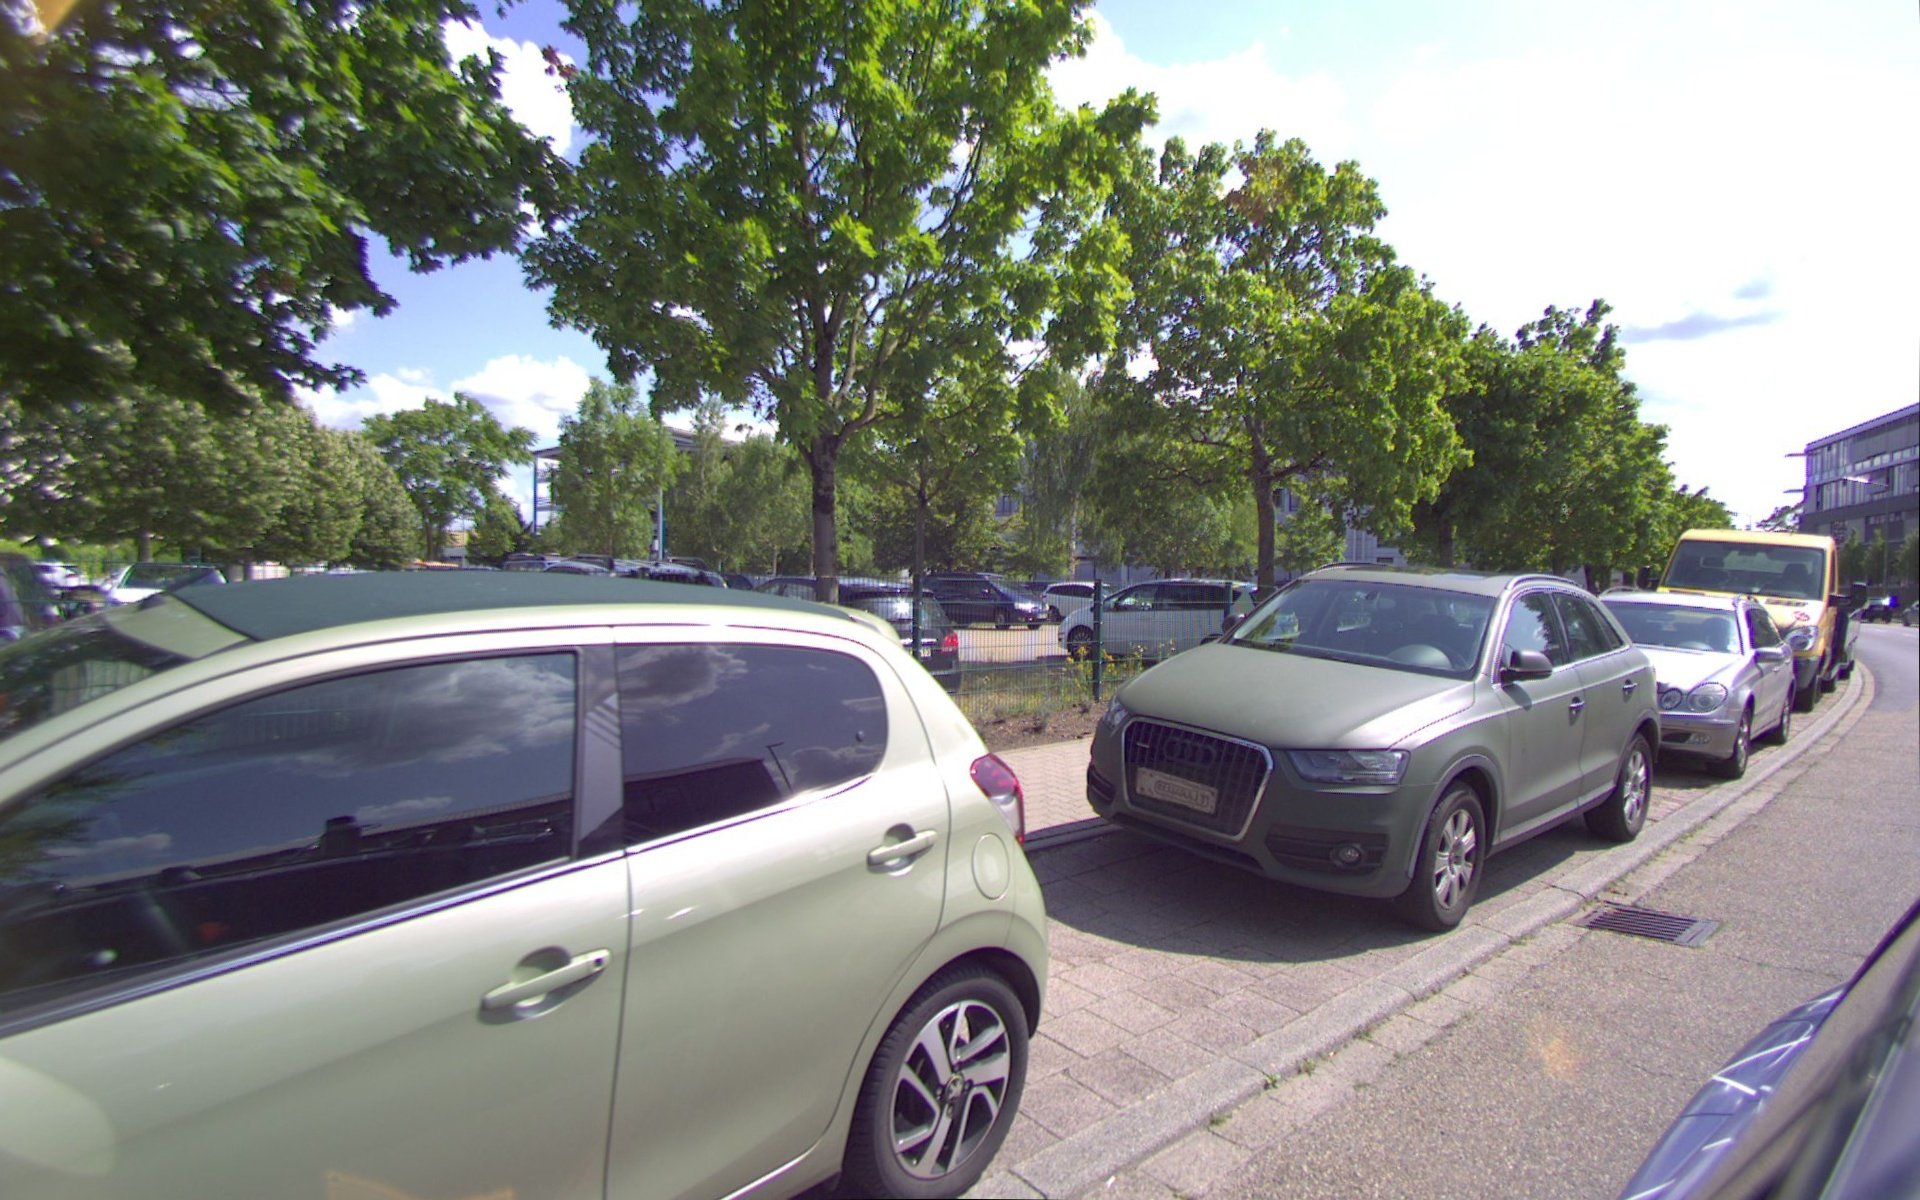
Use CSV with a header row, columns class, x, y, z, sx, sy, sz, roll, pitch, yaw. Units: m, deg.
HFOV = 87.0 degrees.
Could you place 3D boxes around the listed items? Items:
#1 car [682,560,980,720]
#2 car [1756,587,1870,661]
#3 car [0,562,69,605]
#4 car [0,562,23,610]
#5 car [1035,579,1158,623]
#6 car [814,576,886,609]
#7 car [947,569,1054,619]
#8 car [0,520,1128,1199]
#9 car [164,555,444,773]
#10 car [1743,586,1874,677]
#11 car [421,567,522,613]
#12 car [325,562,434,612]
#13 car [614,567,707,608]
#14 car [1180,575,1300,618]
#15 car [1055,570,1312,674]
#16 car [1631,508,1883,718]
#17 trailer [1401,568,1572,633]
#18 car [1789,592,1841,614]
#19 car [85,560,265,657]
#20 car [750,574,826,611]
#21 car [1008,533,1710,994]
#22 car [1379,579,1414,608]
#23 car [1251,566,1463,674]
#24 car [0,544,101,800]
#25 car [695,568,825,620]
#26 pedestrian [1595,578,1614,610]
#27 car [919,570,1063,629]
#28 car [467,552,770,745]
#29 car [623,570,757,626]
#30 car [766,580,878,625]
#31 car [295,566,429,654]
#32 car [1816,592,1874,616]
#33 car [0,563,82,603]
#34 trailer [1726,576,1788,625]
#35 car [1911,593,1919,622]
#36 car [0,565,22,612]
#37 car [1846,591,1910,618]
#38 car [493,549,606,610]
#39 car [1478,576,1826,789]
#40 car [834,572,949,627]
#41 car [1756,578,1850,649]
class,x,y,z,sx,sy,sz,roll,pitch,yaw
car,-1.714,0.338,12.329,1.875,1.613,3.885,-1,2,-38
car,20.001,0.483,23.883,1.829,1.511,4.592,3,2,38
car,-36.698,-0.609,38.495,3.808,1.613,1.912,-1,0,-26
car,-34.395,-0.445,34.043,3.808,1.613,1.912,-1,0,-26
car,4.708,0.011,35.258,1.699,1.455,4.166,0,1,-42
car,-6.312,-0.418,57.907,3.983,1.792,1.970,-1,0,42
car,1.632,-0.258,41.486,4.075,1.959,1.970,1,1,40
car,-1.497,0.627,2.009,3.746,1.504,1.701,-1,5,-45
car,-6.341,0.410,9.591,1.875,1.613,3.885,-1,2,-38
car,16.441,0.521,19.550,1.686,1.513,3.887,3,3,43
car,-17.569,-0.331,36.353,3.985,1.576,1.969,-1,0,43
car,-19.563,-0.404,34.047,4.264,1.576,1.970,-1,-1,42
car,-12.329,-0.504,41.525,3.984,1.576,1.862,-1,0,42
car,12.513,-0.210,45.328,4.841,1.789,1.889,2,2,39
car,4.041,0.314,18.728,4.312,1.641,1.738,3,2,40
car,12.117,0.078,15.153,2.159,2.495,6.532,3,3,45
trailer,18.308,-0.034,35.293,5.036,2.108,2.034,1,1,38
car,58.486,0.189,69.272,1.647,1.500,3.490,-1,0,22
car,-13.111,0.094,16.827,1.980,1.413,3.756,0,1,-44
car,-9.077,-0.376,53.317,3.985,1.824,1.969,-1,0,43
car,2.557,0.537,5.834,4.489,1.627,1.837,0,5,-41
car,26.017,-0.393,60.320,1.807,1.668,3.309,-1,0,24
car,9.701,0.407,24.922,4.329,1.688,1.830,15,10,39
car,-7.830,0.403,7.641,1.875,1.613,4.220,-1,2,-38
car,-6.476,-0.225,32.593,4.265,1.576,1.970,1,1,42
pedestrian,35.174,-0.309,55.257,0.724,1.666,0.573,6,2,32
car,0.877,-0.035,30.771,1.807,1.661,4.485,0,1,-42
car,-3.787,0.354,10.795,1.875,1.657,3.885,-1,2,-38
car,-8.312,-0.099,30.950,4.265,1.576,1.970,1,1,42
car,-4.754,0.103,34.672,3.743,1.431,1.727,0,-2,40
car,-11.067,0.129,18.601,1.809,1.413,4.017,0,1,-35
car,56.240,0.234,64.362,1.649,1.414,4.071,-1,0,25
car,-38.282,-0.688,40.859,3.917,1.568,1.756,-1,1,-24
trailer,37.117,-0.019,47.200,1.739,2.092,3.901,4,3,32
car,49.286,0.387,50.473,1.723,1.463,3.891,-1,0,28
car,-34.195,-0.372,33.964,3.578,1.568,1.782,-1,1,-26
car,53.981,0.255,59.587,1.649,1.550,3.965,-1,0,25
car,-15.633,-0.728,38.444,4.923,2.130,2.079,-1,0,42
car,7.016,0.570,9.986,1.877,1.495,5.084,5,4,45
car,-2.603,-0.043,37.808,4.075,1.959,1.970,1,1,40
car,23.933,0.306,28.841,1.847,1.787,5.006,4,3,39
